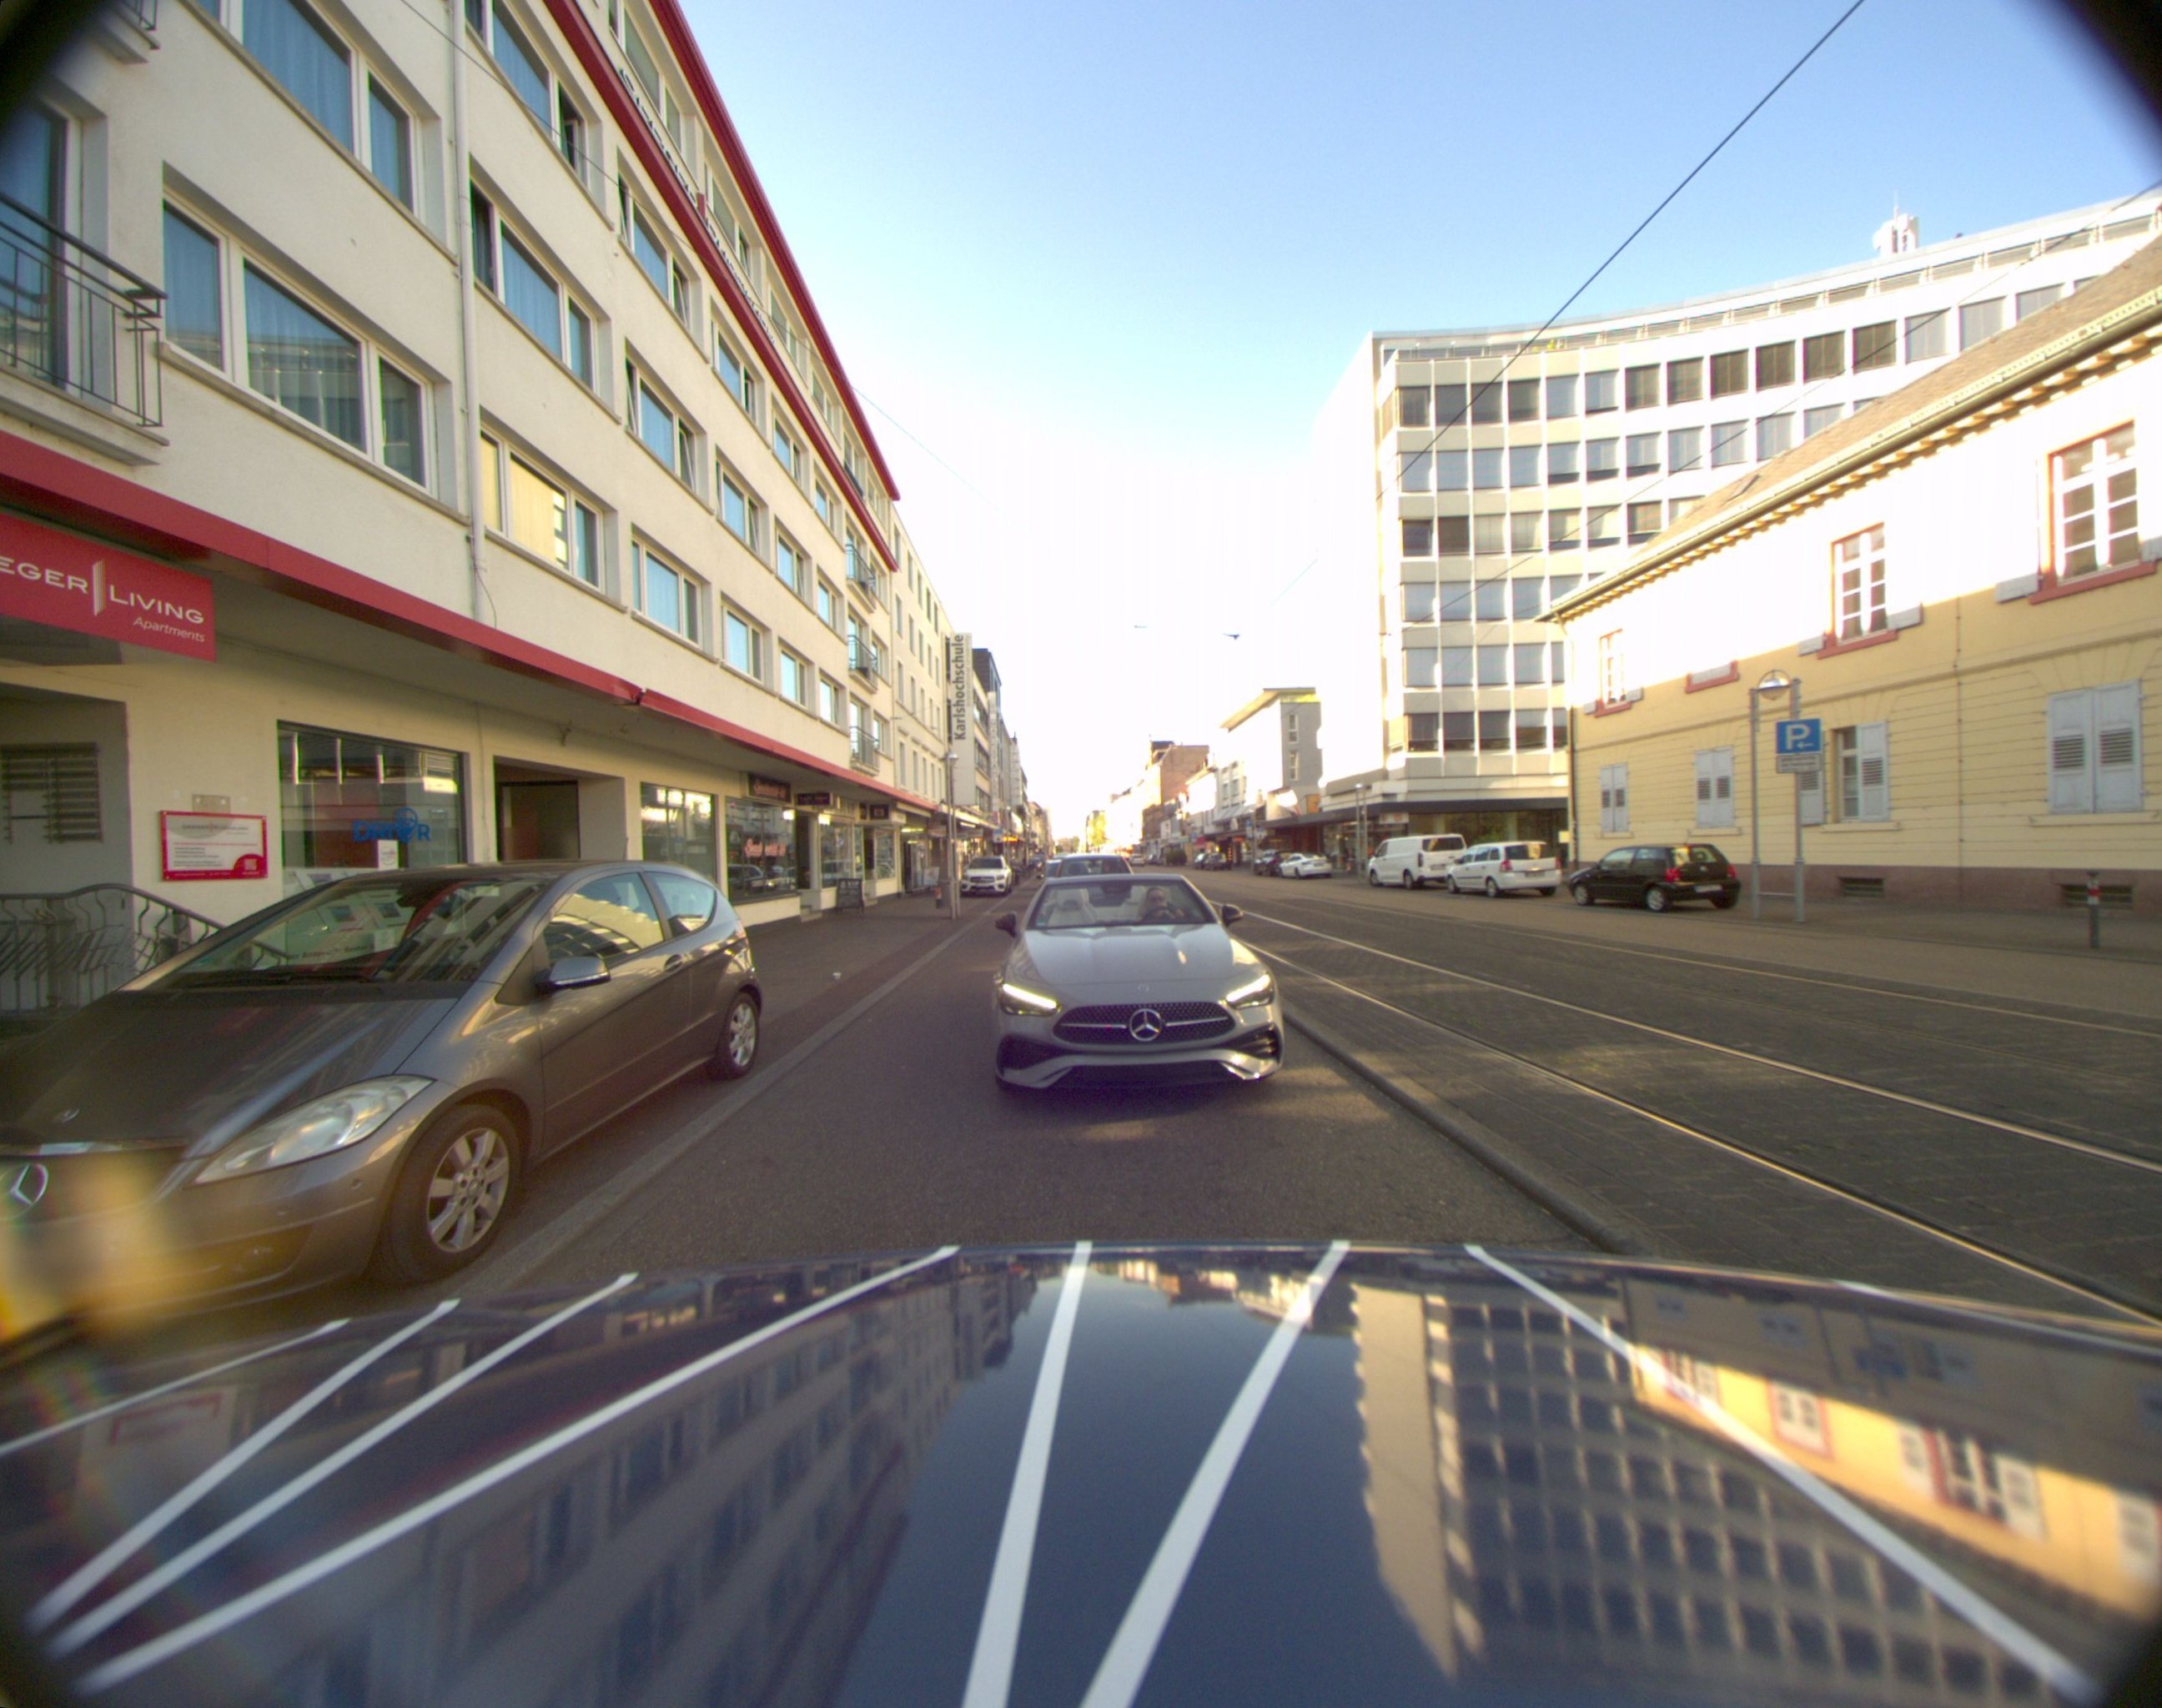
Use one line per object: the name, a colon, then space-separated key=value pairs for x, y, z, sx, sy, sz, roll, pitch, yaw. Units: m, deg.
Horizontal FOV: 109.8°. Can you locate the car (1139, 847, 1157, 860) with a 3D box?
car: x=10.573 y=-0.043 z=119.499 sx=1.999 sy=2.002 sz=5.319 roll=-1 pitch=0 yaw=-4

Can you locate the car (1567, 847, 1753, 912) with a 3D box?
car: x=12.860 y=0.511 z=17.123 sx=1.688 sy=1.246 sz=3.212 roll=-2 pitch=1 yaw=-1

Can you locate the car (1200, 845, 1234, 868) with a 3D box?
car: x=11.685 y=0.230 z=65.541 sx=1.999 sy=1.849 sz=3.998 roll=-2 pitch=1 yaw=-2

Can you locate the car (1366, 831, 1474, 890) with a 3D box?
car: x=12.679 y=0.225 z=28.788 sx=2.040 sy=2.002 sz=4.621 roll=-1 pitch=0 yaw=1

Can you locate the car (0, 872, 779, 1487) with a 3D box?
car: x=-3.221 y=0.935 z=4.008 sx=1.683 sy=1.537 sz=3.999 roll=-2 pitch=0 yaw=-1

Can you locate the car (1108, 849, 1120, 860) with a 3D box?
car: x=6.262 y=0.034 z=143.720 sx=1.914 sy=1.883 sz=3.855 roll=-2 pitch=1 yaw=-2

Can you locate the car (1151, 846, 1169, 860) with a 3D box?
car: x=11.517 y=-0.130 z=111.475 sx=1.999 sy=2.002 sz=3.998 roll=-2 pitch=1 yaw=-2

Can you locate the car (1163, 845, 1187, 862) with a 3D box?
car: x=11.182 y=-0.061 z=90.432 sx=2.200 sy=2.030 sz=3.999 roll=-1 pitch=0 yaw=-1

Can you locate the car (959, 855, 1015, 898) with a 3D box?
car: x=-3.849 y=0.882 z=31.719 sx=1.999 sy=1.620 sz=3.998 roll=-1 pitch=0 yaw=-4

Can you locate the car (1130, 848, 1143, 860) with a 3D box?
car: x=9.767 y=-0.044 z=134.553 sx=1.999 sy=2.002 sz=4.000 roll=-1 pitch=0 yaw=0

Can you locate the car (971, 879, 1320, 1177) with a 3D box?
car: x=0.226 y=1.006 z=6.154 sx=1.884 sy=1.375 sz=3.998 roll=-2 pitch=1 yaw=-4

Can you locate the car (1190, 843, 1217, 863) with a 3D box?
car: x=11.898 y=-0.076 z=74.173 sx=1.789 sy=1.870 sz=3.999 roll=-1 pitch=0 yaw=-2

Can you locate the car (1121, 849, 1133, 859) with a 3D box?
car: x=9.542 y=-0.080 z=157.292 sx=1.999 sy=2.002 sz=3.999 roll=-1 pitch=0 yaw=-2

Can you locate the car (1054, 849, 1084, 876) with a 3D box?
car: x=-0.863 y=0.577 z=54.617 sx=1.999 sy=1.793 sz=3.999 roll=-2 pitch=1 yaw=-1

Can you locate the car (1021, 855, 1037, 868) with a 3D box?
car: x=-6.242 y=0.910 z=91.872 sx=1.714 sy=1.430 sz=3.756 roll=-2 pitch=1 yaw=-1

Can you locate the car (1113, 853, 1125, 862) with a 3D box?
car: x=6.685 y=0.615 z=132.043 sx=1.964 sy=1.499 sz=4.000 roll=-2 pitch=1 yaw=4

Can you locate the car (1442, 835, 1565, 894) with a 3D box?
car: x=12.743 y=0.263 z=23.184 sx=1.641 sy=1.600 sz=4.005 roll=-2 pitch=1 yaw=3

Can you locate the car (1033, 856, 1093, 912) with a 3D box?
car: x=-0.558 y=0.863 z=23.580 sx=1.648 sy=1.506 sz=3.844 roll=-2 pitch=0 yaw=-1

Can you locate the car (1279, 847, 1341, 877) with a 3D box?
car: x=12.641 y=0.413 z=42.256 sx=1.999 sy=1.521 sz=4.373 roll=-2 pitch=1 yaw=-1

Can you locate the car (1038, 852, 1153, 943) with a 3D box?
car: x=0.159 y=0.773 z=15.552 sx=1.927 sy=1.533 sz=3.998 roll=-2 pitch=0 yaw=-4

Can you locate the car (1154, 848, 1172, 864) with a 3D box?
car: x=10.823 y=0.239 z=100.800 sx=1.998 sy=2.002 sz=4.000 roll=-1 pitch=0 yaw=1

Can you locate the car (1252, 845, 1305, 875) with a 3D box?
car: x=12.326 y=0.355 z=47.683 sx=1.999 sy=1.694 sz=4.107 roll=-3 pitch=1 yaw=-2

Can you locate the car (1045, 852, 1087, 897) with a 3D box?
car: x=-0.642 y=0.809 z=31.898 sx=1.573 sy=1.670 sz=3.688 roll=-2 pitch=1 yaw=-1

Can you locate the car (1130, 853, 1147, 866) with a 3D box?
car: x=7.440 y=0.670 z=98.375 sx=1.760 sy=1.587 sz=3.999 roll=-1 pitch=0 yaw=-2

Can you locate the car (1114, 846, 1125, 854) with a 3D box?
car: x=8.995 y=-0.890 z=176.592 sx=2.148 sy=1.850 sz=3.998 roll=-2 pitch=1 yaw=-2
